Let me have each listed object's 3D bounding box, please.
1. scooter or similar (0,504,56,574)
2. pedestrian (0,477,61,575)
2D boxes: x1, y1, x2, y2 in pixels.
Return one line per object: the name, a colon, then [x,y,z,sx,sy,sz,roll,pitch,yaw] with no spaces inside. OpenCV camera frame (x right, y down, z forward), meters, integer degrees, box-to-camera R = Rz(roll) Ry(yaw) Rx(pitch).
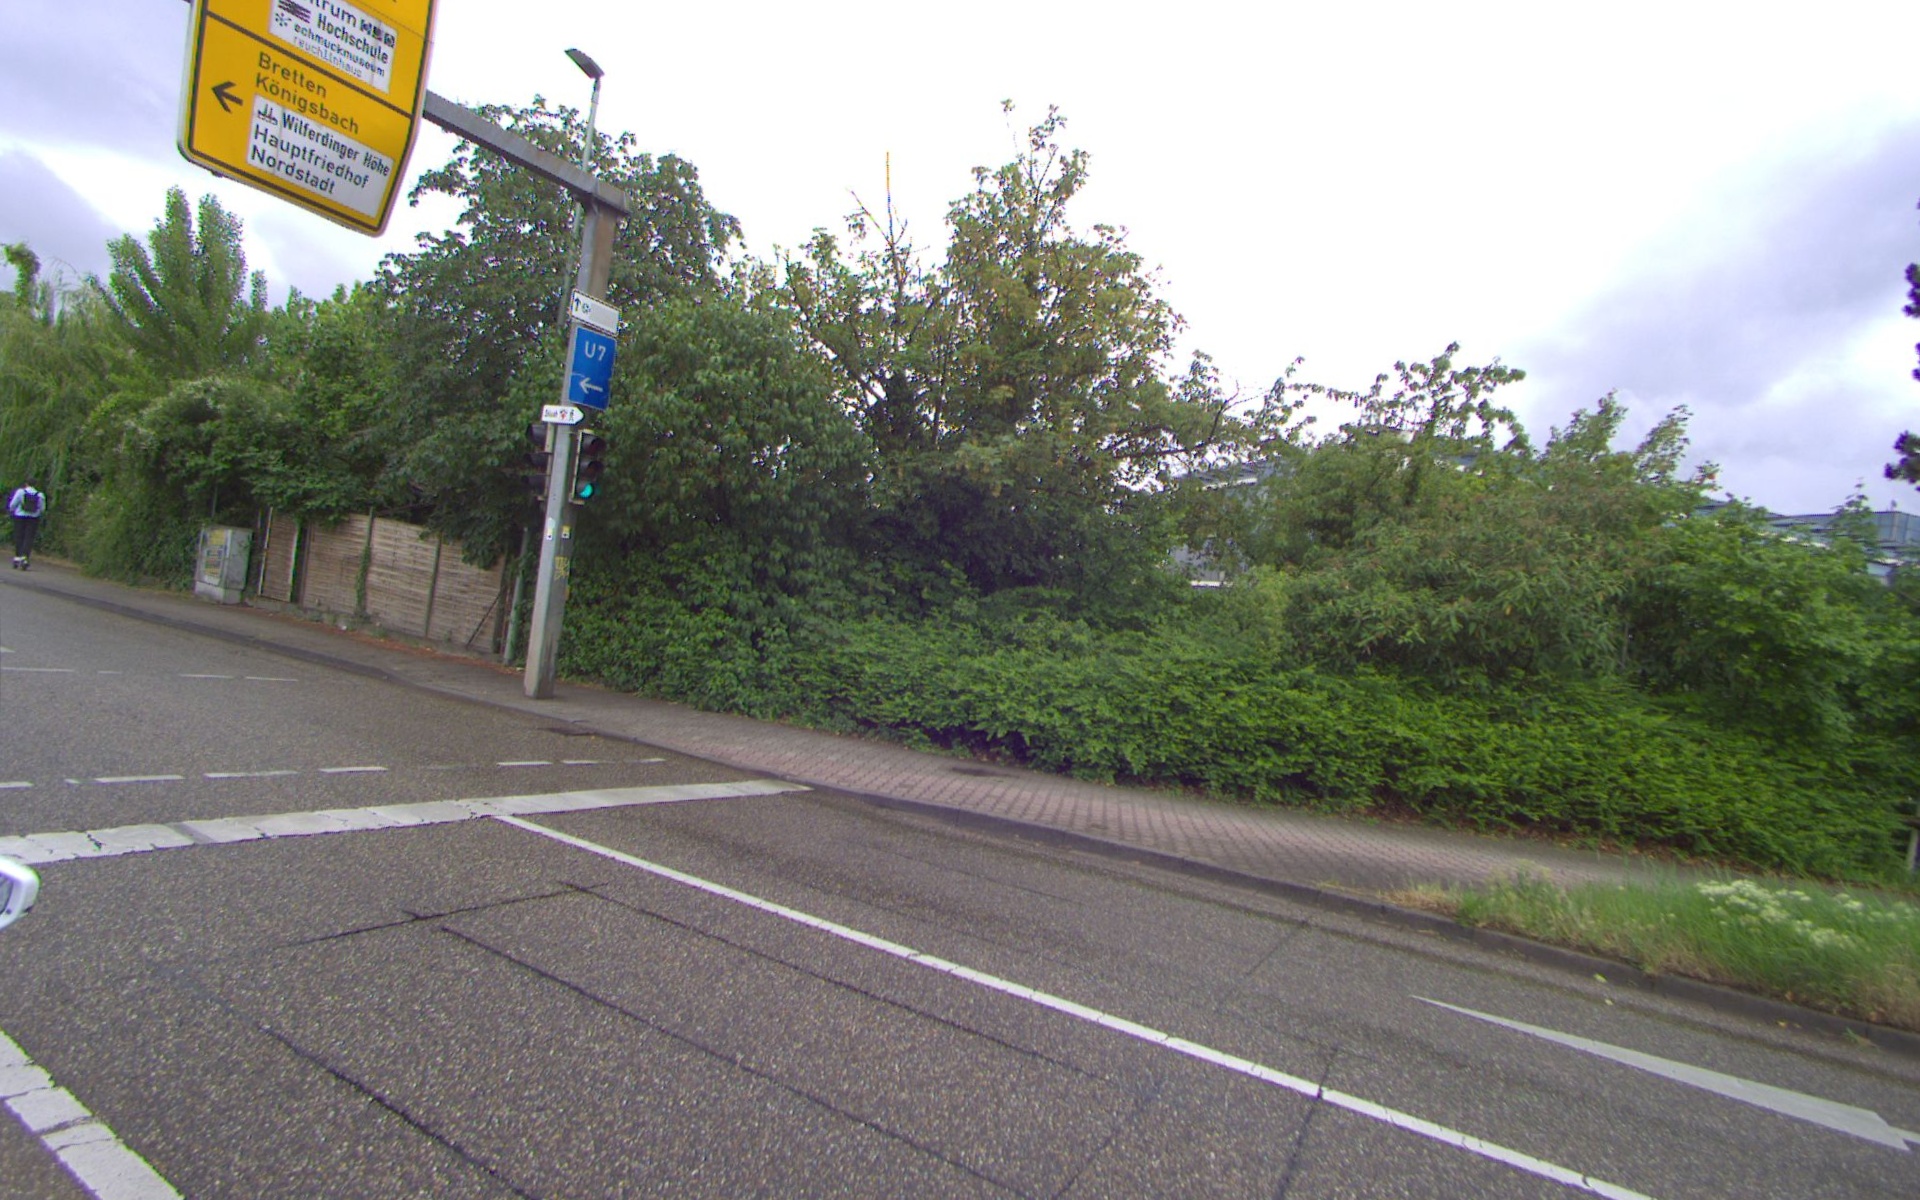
scooter or similar: [-20.499,-1.348,22.072,1.361,1.378,0.462,7,0,28]
pedestrian: [-20.423,-1.621,22.068,0.705,2.026,0.657,7,0,27]
